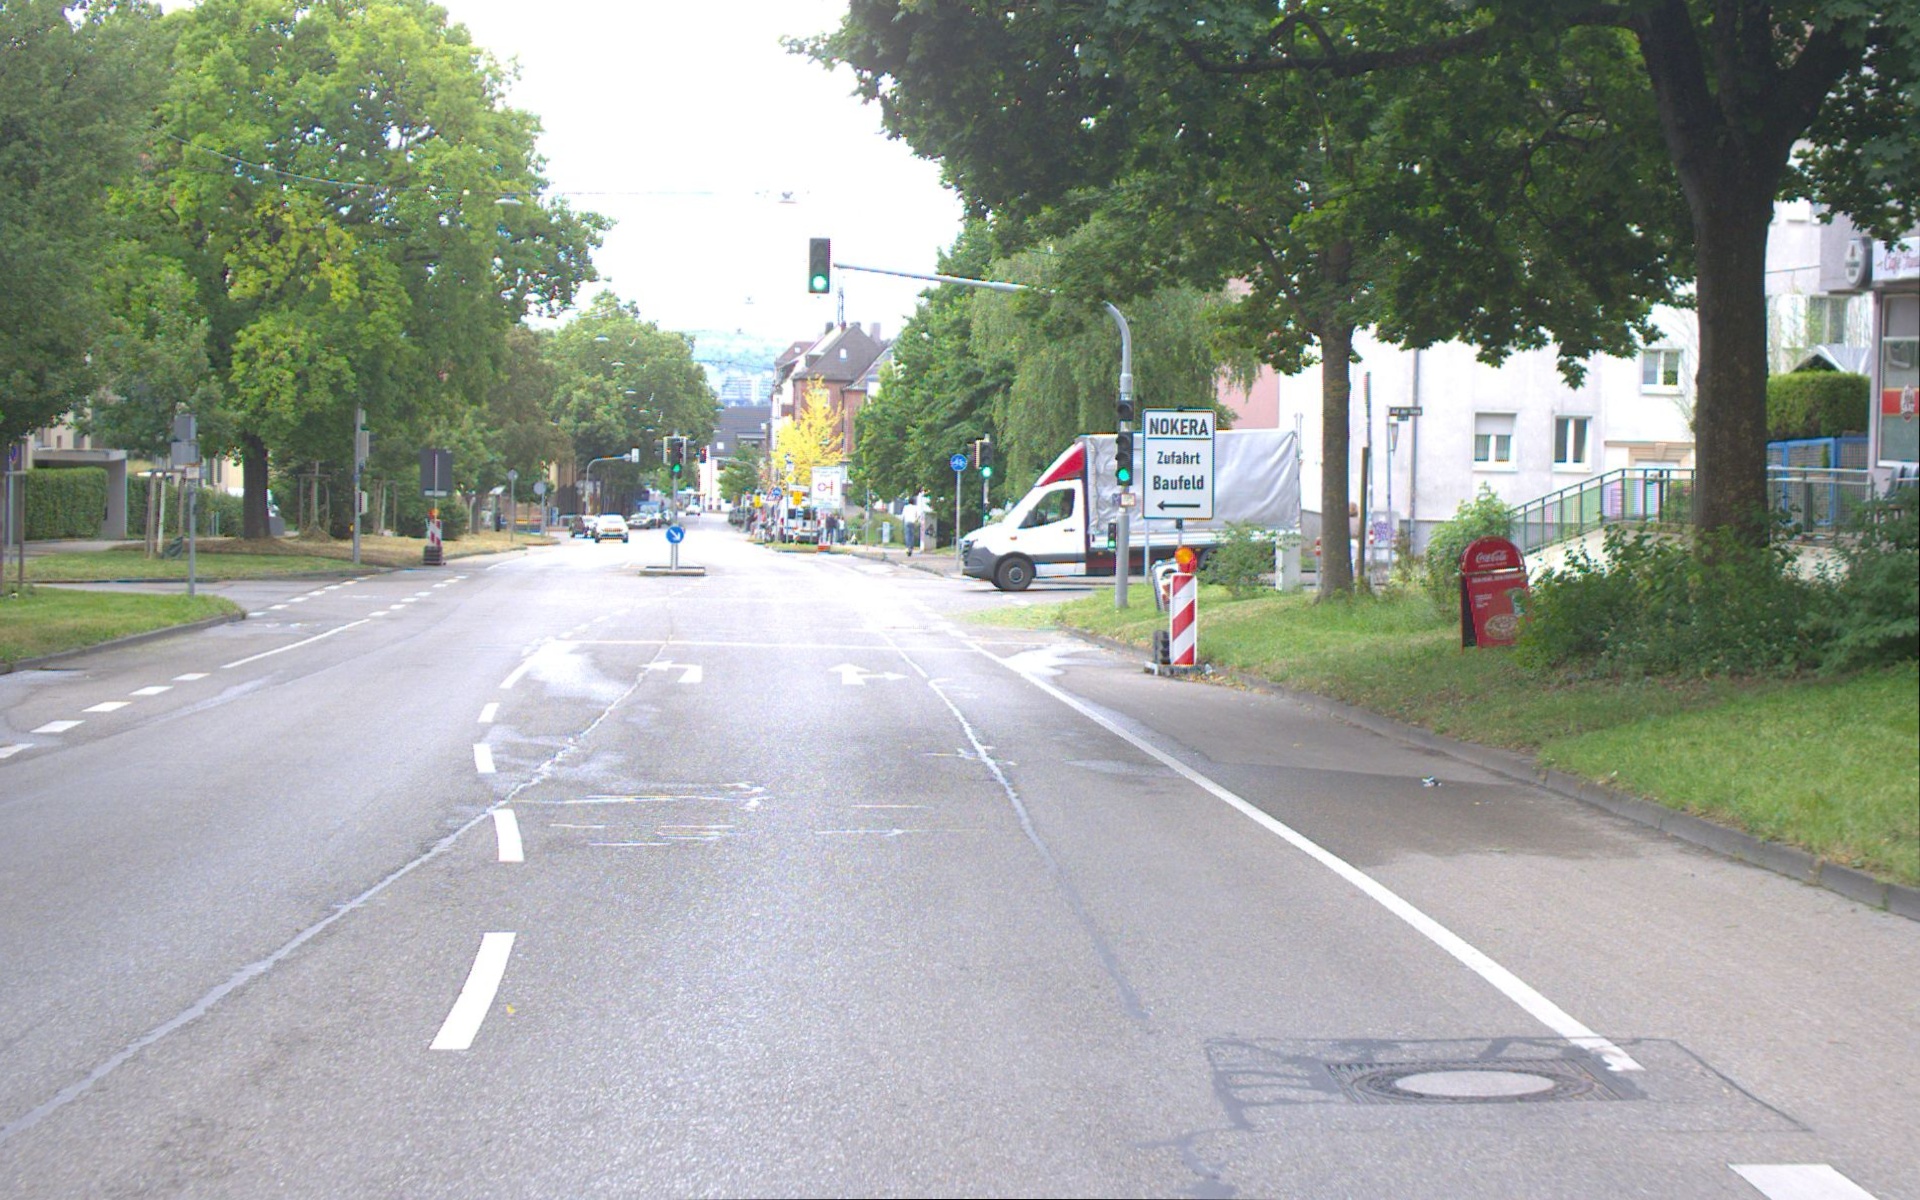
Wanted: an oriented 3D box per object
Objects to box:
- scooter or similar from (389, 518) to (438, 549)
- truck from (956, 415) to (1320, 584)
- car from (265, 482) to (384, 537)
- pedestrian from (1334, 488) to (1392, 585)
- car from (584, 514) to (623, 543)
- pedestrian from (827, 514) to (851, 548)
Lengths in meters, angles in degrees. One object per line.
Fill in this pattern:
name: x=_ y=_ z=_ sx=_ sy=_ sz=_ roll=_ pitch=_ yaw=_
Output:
scooter or similar: x=-19.762 y=-2.396 z=124.249 sx=1.692 sy=1.079 sz=0.747 roll=2 pitch=1 yaw=-11
truck: x=3.639 y=-2.084 z=71.425 sx=7.226 sy=3.295 sz=2.540 roll=1 pitch=1 yaw=-3
car: x=-19.988 y=-2.850 z=108.227 sx=3.448 sy=1.590 sz=2.000 roll=2 pitch=1 yaw=-5
pedestrian: x=7.876 y=-1.244 z=67.196 sx=0.747 sy=1.848 sz=0.955 roll=-2 pitch=2 yaw=-18
car: x=-19.344 y=-3.877 z=186.401 sx=1.993 sy=1.500 sz=4.001 roll=2 pitch=1 yaw=-5
pedestrian: x=-6.562 y=-3.732 z=186.615 sx=1.200 sy=1.804 sz=1.301 roll=2 pitch=1 yaw=-3
